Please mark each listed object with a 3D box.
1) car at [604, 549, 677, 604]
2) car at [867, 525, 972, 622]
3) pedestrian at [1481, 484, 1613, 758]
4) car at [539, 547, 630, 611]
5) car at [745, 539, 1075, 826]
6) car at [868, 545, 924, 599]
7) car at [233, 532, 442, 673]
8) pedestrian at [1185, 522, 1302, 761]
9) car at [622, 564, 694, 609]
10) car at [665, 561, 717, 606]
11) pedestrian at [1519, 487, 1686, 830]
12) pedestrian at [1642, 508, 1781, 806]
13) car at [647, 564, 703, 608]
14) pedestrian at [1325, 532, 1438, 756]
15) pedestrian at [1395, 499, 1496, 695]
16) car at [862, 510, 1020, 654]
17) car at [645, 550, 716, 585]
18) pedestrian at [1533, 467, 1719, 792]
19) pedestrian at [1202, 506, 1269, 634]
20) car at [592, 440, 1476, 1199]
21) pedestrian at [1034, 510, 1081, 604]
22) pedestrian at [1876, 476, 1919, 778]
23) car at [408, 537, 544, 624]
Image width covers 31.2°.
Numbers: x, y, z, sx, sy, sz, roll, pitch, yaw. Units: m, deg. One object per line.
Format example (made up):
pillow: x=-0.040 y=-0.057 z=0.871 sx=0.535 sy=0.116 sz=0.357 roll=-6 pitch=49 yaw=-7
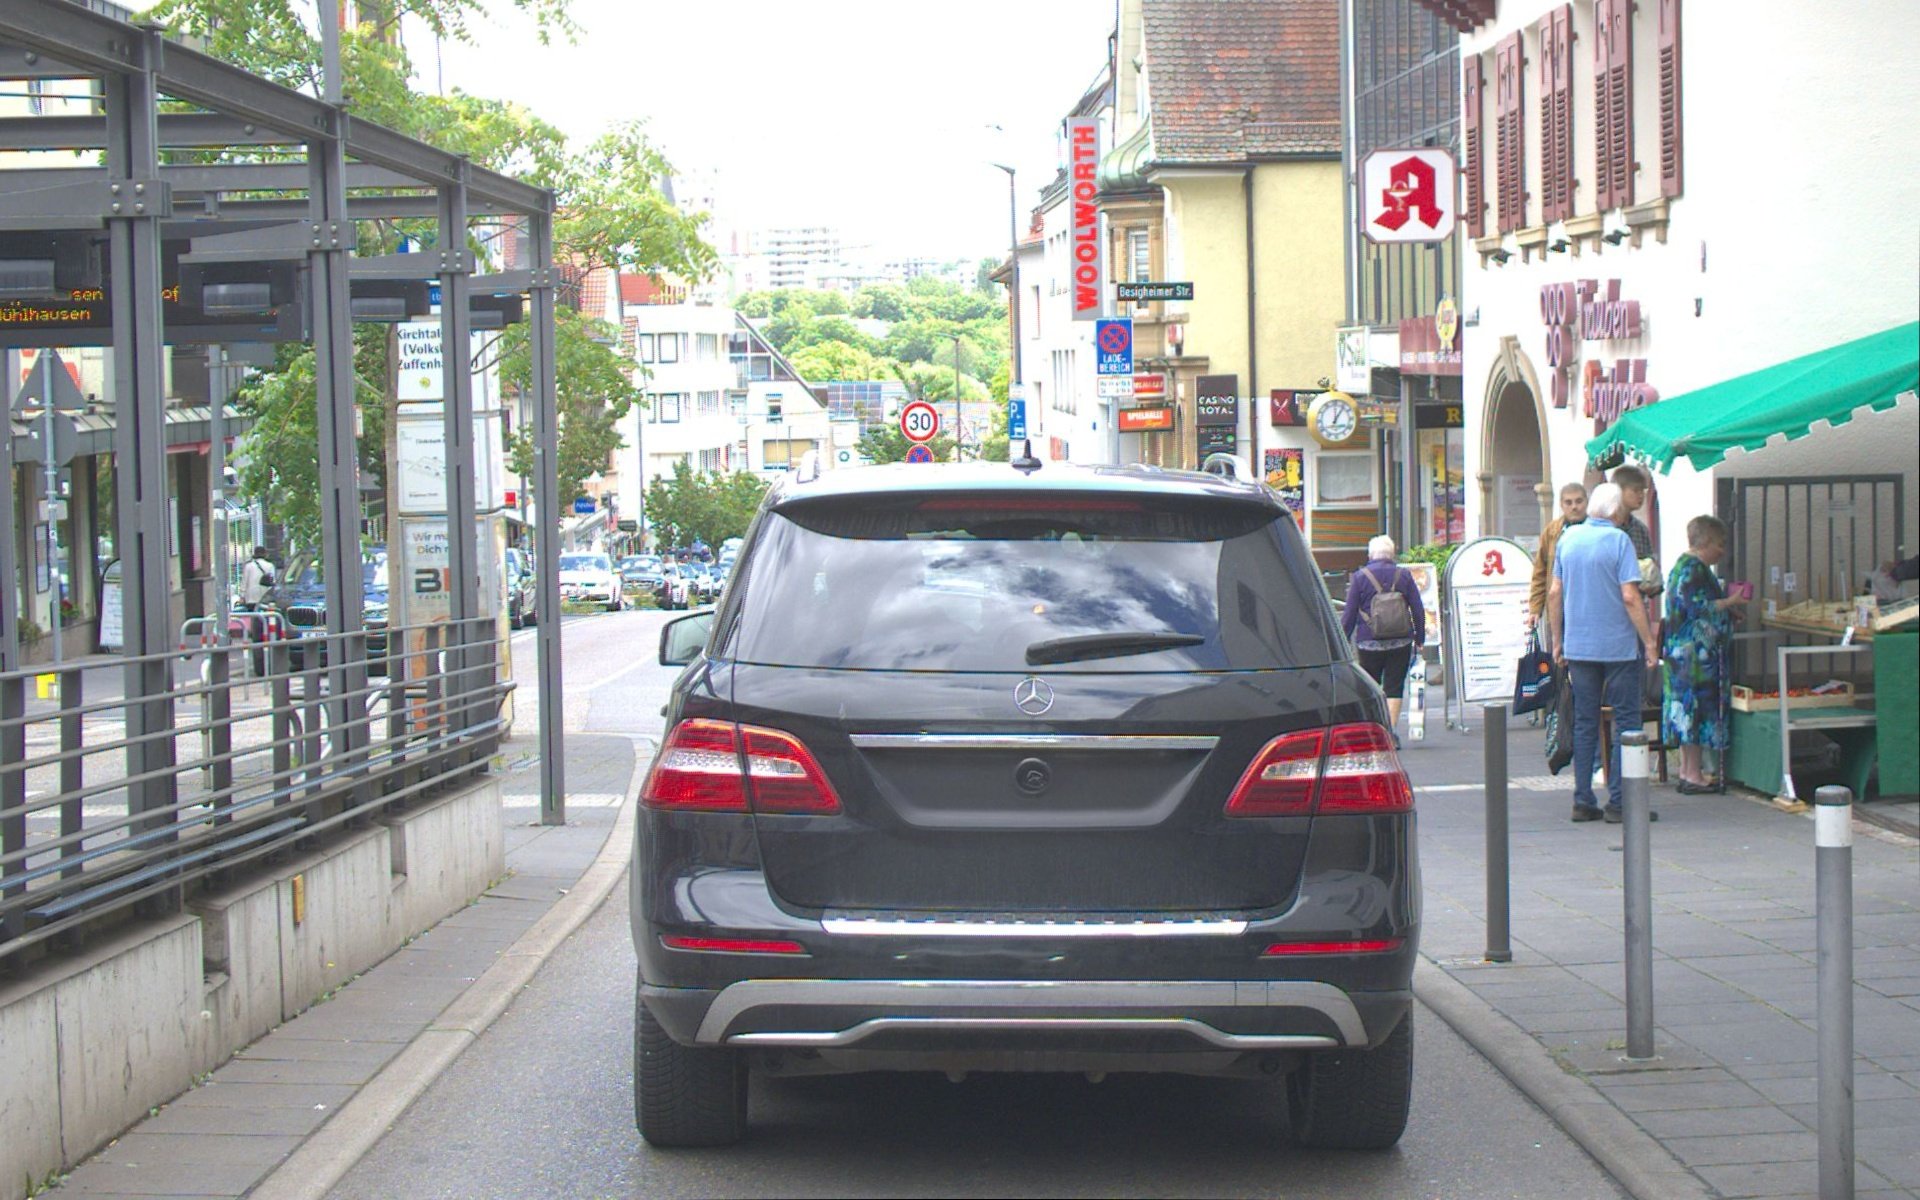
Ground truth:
car: x=-9.486 y=-0.689 z=102.244 sx=1.926 sy=1.616 sz=4.640 roll=0 pitch=0 yaw=-2
car: x=-0.720 y=-0.500 z=61.672 sx=1.748 sy=1.602 sz=3.800 roll=-3 pitch=1 yaw=0
pedestrian: x=3.933 y=0.133 z=23.092 sx=0.786 sy=1.795 sz=0.676 roll=-1 pitch=1 yaw=5
car: x=-9.260 y=-0.547 z=84.980 sx=1.926 sy=1.506 sz=4.262 roll=1 pitch=1 yaw=-2
car: x=-0.378 y=0.420 z=20.808 sx=1.785 sy=1.535 sz=3.745 roll=-1 pitch=1 yaw=-3
car: x=-2.442 y=-1.091 z=129.752 sx=1.938 sy=1.885 sz=4.707 roll=-3 pitch=1 yaw=-2
car: x=-8.065 y=-0.016 z=44.916 sx=2.006 sy=1.688 sz=4.608 roll=0 pitch=2 yaw=-2
pedestrian: x=1.994 y=0.279 z=24.161 sx=0.772 sy=1.639 sz=0.870 roll=-1 pitch=1 yaw=5
car: x=-9.646 y=-0.444 z=110.015 sx=1.926 sy=1.425 sz=4.262 roll=0 pitch=1 yaw=0
car: x=-10.235 y=-0.645 z=130.940 sx=1.926 sy=1.590 sz=4.459 roll=1 pitch=1 yaw=-4
pedestrian: x=3.376 y=0.296 z=18.044 sx=0.701 sy=1.761 sz=0.625 roll=-1 pitch=1 yaw=25
pedestrian: x=4.144 y=0.303 z=18.992 sx=0.623 sy=1.607 sz=0.702 roll=-1 pitch=1 yaw=4
car: x=-10.208 y=-0.516 z=123.551 sx=1.926 sy=1.491 sz=4.263 roll=1 pitch=1 yaw=-4
pedestrian: x=2.944 y=0.295 z=24.070 sx=0.724 sy=1.526 sz=0.808 roll=-1 pitch=1 yaw=5
pedestrian: x=4.448 y=-0.035 z=31.541 sx=0.774 sy=1.763 sz=0.817 roll=-1 pitch=1 yaw=1
car: x=-0.203 y=-0.277 z=45.948 sx=1.877 sy=1.793 sz=4.732 roll=-1 pitch=1 yaw=2
car: x=-16.130 y=-1.878 z=198.607 sx=3.986 sy=1.744 sz=2.000 roll=-3 pitch=0 yaw=-5
pedestrian: x=3.898 y=0.159 z=20.117 sx=0.780 sy=1.851 sz=0.701 roll=-1 pitch=1 yaw=42
pedestrian: x=3.758 y=-0.409 z=46.799 sx=0.864 sy=1.701 sz=0.945 roll=-1 pitch=1 yaw=5
car: x=0.140 y=0.480 z=9.705 sx=1.943 sy=1.734 sz=4.179 roll=0 pitch=1 yaw=-1
pedestrian: x=1.821 y=-0.800 z=64.291 sx=0.796 sy=1.721 sz=1.053 roll=-2 pitch=1 yaw=-1
pedestrian: x=5.370 y=0.133 z=18.652 sx=0.623 sy=1.607 sz=0.702 roll=-1 pitch=1 yaw=4
car: x=-8.717 y=-0.381 z=62.267 sx=1.926 sy=1.487 sz=4.843 roll=1 pitch=1 yaw=-2
